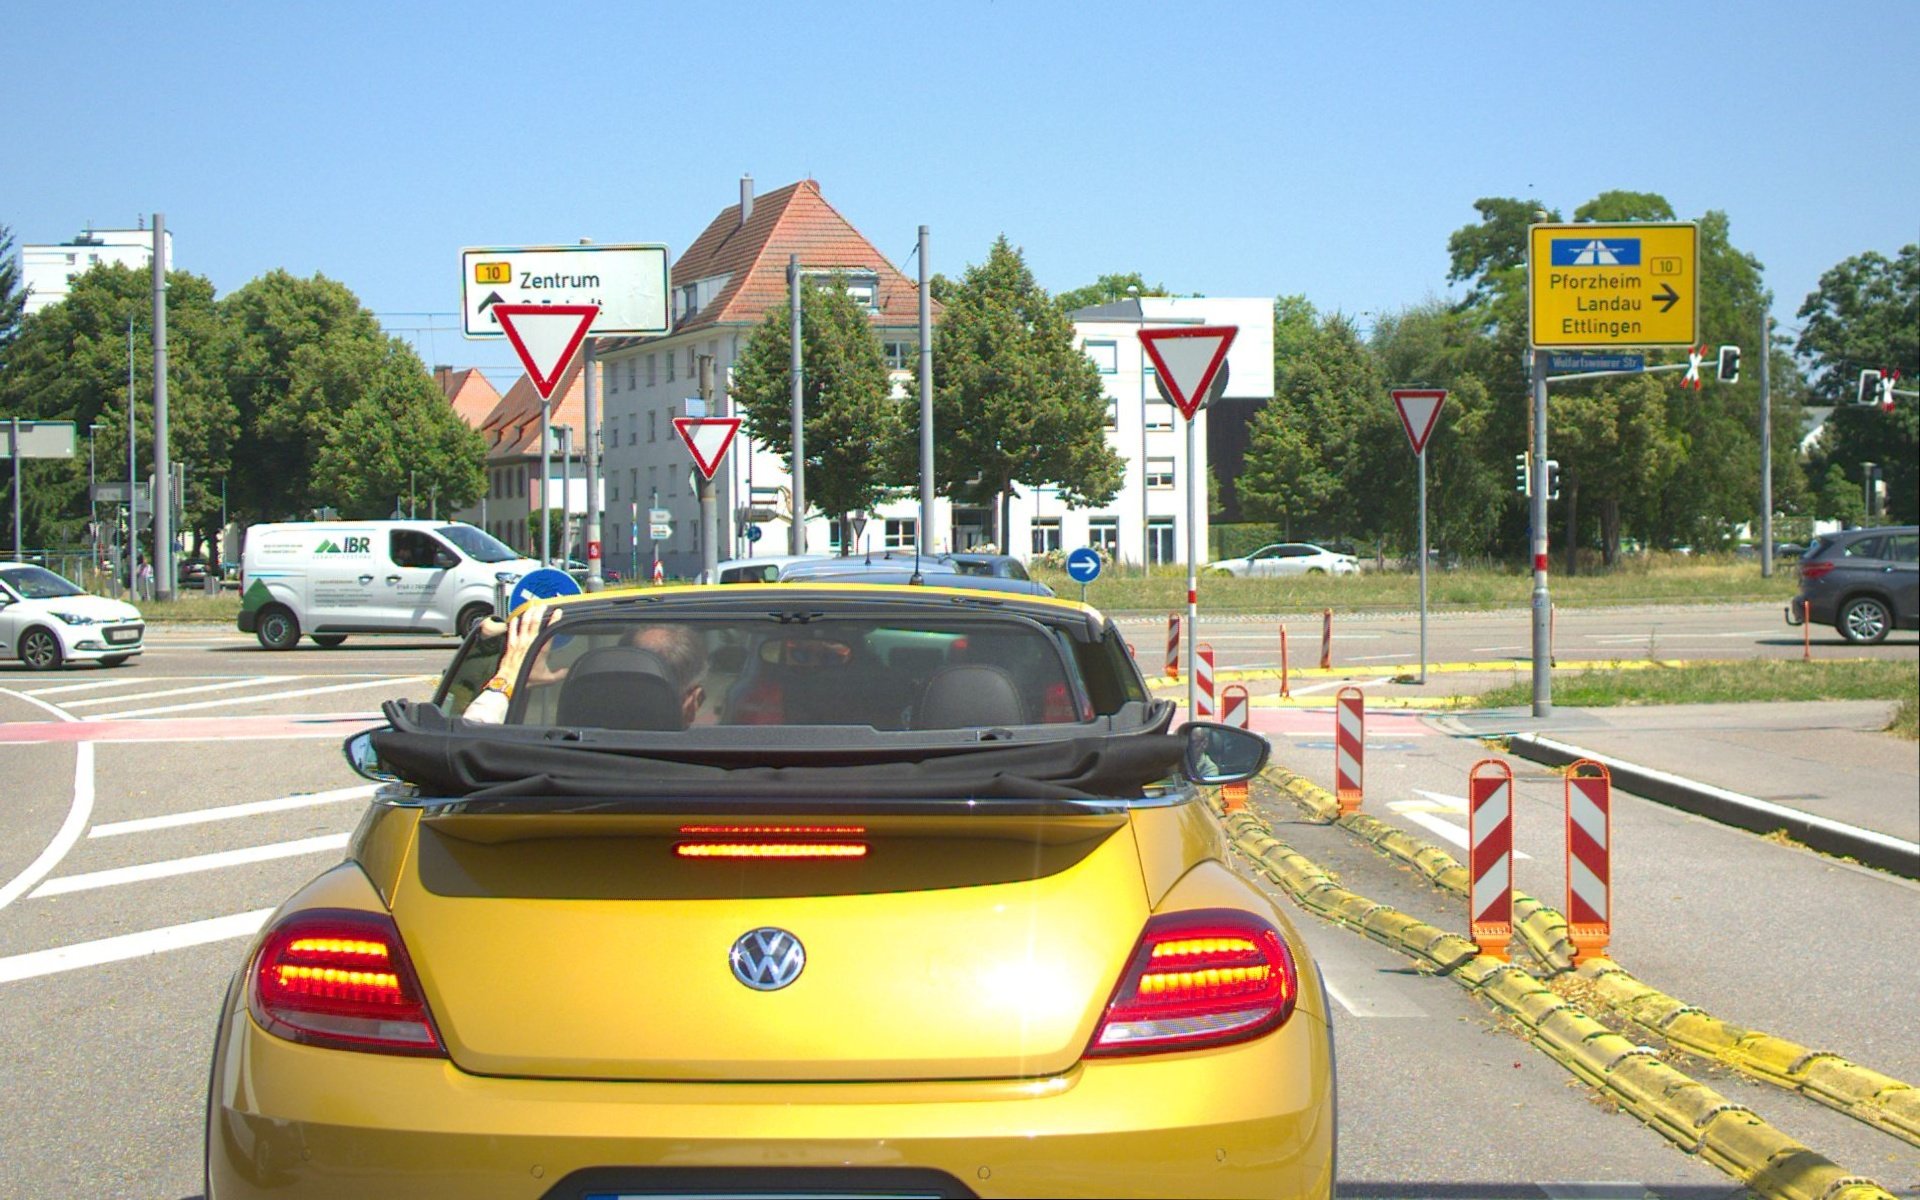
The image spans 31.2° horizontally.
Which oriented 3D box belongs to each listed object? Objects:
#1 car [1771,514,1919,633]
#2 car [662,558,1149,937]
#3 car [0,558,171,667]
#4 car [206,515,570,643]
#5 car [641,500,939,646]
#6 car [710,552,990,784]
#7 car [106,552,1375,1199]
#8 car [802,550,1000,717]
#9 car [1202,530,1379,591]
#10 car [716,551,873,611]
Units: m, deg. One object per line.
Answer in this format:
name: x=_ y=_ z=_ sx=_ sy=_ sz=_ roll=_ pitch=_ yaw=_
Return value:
car: x=13.344 y=-0.359 z=46.643 sx=4.434 sy=1.590 sz=1.999 roll=0 pitch=1 yaw=10
car: x=-0.228 y=0.538 z=15.097 sx=1.848 sy=1.437 sz=4.000 roll=0 pitch=1 yaw=-1
car: x=-13.026 y=0.145 z=47.157 sx=4.011 sy=1.439 sz=1.631 roll=0 pitch=1 yaw=17
car: x=-8.482 y=-0.332 z=51.040 sx=4.975 sy=1.843 sz=1.998 roll=0 pitch=1 yaw=19
car: x=-2.185 y=-0.357 z=44.770 sx=3.667 sy=1.843 sz=1.632 roll=0 pitch=1 yaw=6
car: x=-0.706 y=0.399 z=23.406 sx=1.736 sy=1.437 sz=4.000 roll=0 pitch=1 yaw=-1
car: x=-0.334 y=0.622 z=6.653 sx=1.752 sy=1.417 sz=3.778 roll=0 pitch=1 yaw=-1
car: x=-0.543 y=0.271 z=32.337 sx=1.736 sy=1.472 sz=4.000 roll=0 pitch=1 yaw=-1
car: x=10.432 y=-1.251 z=108.541 sx=5.169 sy=1.780 sz=2.024 roll=-1 pitch=1 yaw=21
car: x=-5.304 y=-0.626 z=109.768 sx=4.915 sy=1.780 sz=2.027 roll=-1 pitch=1 yaw=-4
